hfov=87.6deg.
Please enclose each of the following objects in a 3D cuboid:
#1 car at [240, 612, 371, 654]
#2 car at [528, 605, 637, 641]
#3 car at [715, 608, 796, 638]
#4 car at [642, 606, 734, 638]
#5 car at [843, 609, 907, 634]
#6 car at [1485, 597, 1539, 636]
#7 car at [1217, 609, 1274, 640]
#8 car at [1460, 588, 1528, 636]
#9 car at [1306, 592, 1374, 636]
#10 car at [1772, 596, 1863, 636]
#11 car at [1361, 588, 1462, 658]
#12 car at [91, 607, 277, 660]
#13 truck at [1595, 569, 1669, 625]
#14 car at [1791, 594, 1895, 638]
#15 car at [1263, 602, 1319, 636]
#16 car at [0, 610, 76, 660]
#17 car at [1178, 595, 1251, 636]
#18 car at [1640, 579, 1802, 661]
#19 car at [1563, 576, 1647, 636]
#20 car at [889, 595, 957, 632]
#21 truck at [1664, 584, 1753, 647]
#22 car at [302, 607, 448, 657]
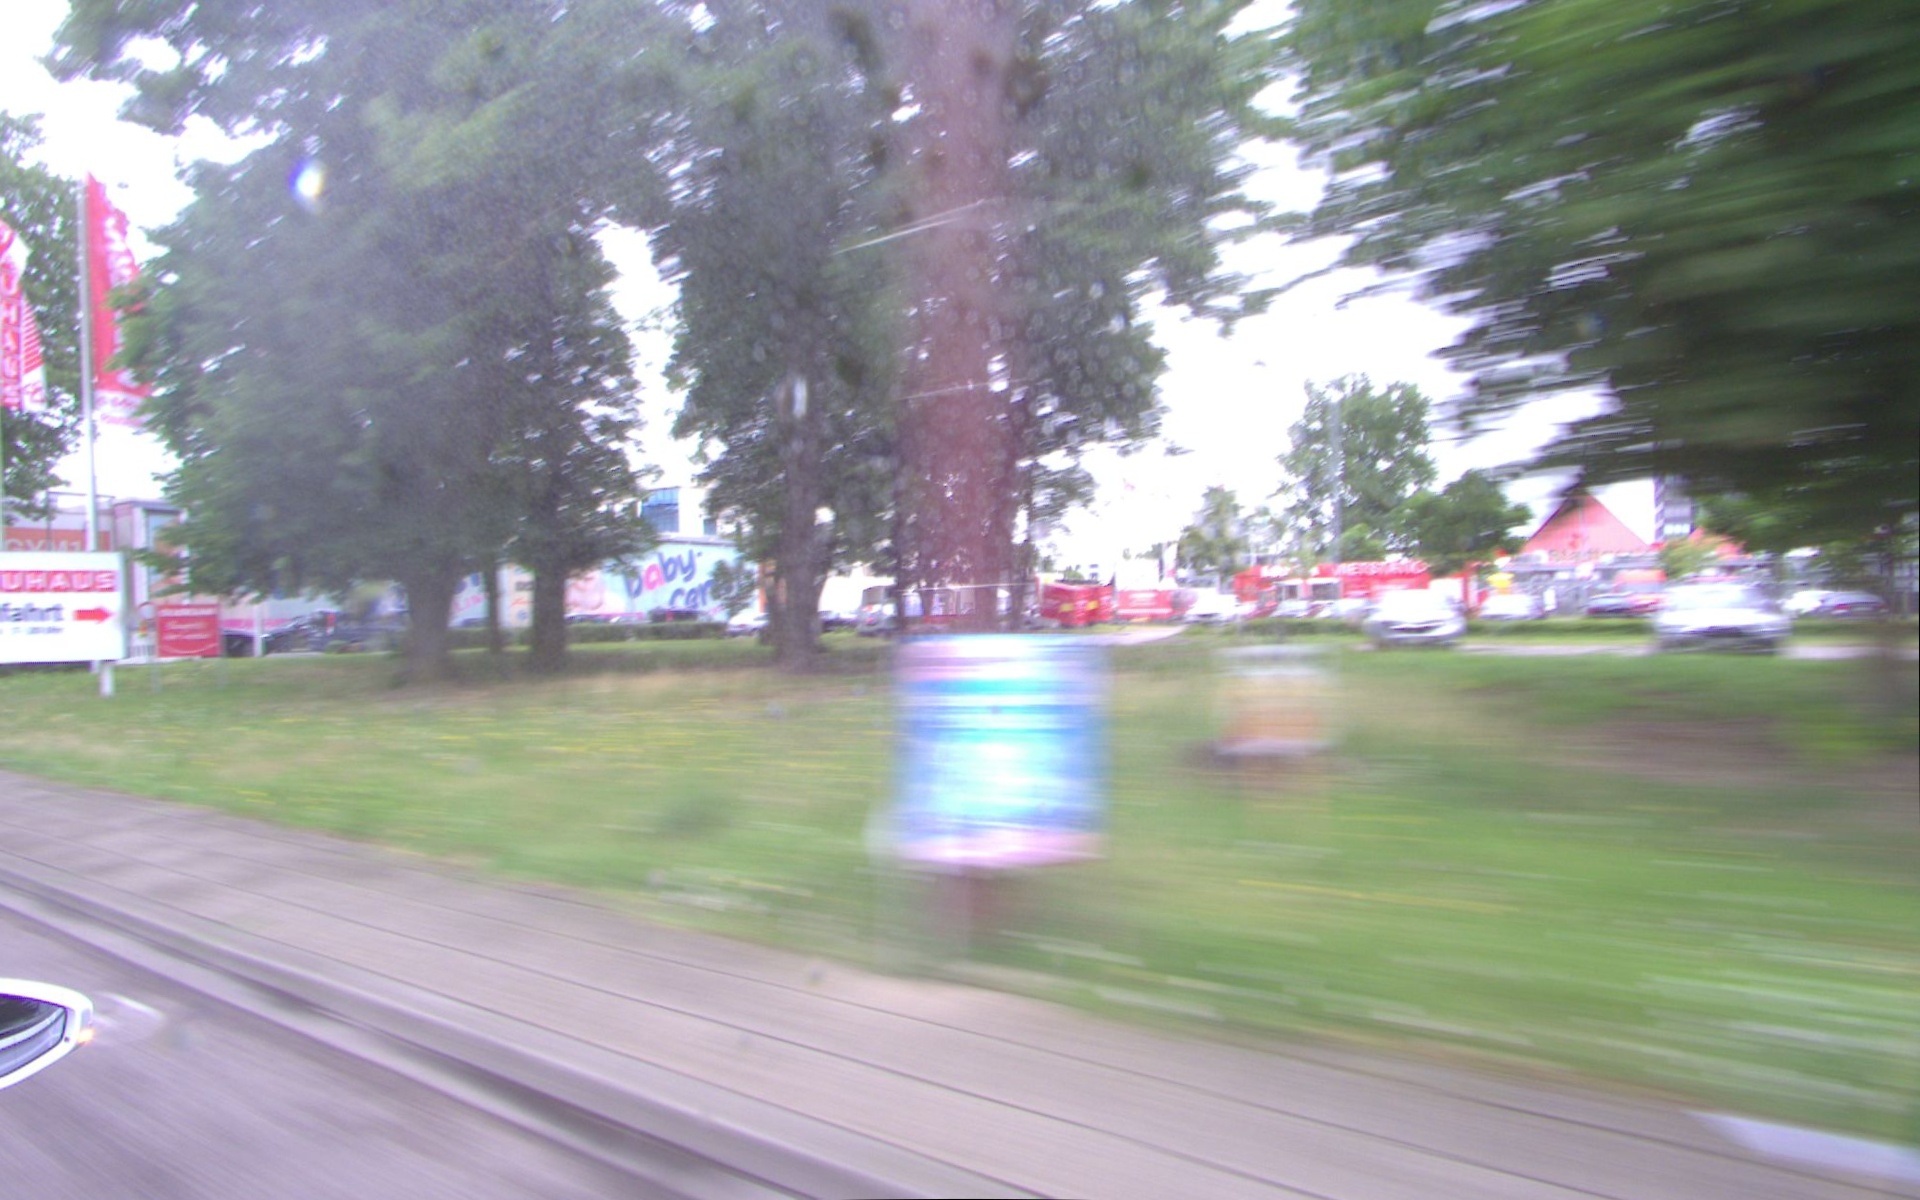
[{"bbox_3d":[-29.462,1.450,45.192,2.054,1.699,4.539,-1,0,35],"label":"car"},{"bbox_3d":[-17.966,1.054,47.855,2.044,1.592,4.544,-1,0,32],"label":"car"},{"bbox_3d":[-11.735,1.305,57.686,2.044,1.592,4.544,-1,0,32],"label":"car"},{"bbox_3d":[-14.437,1.166,53.396,2.044,1.592,4.544,-1,0,32],"label":"car"},{"bbox_3d":[-5.713,1.450,67.788,2.044,1.592,4.544,-1,0,32],"label":"car"},{"bbox_3d":[26.063,0.755,47.413,2.122,1.699,4.549,-1,0,28],"label":"car"},{"bbox_3d":[15.827,1.311,55.368,2.122,1.576,4.549,-1,0,28],"label":"car"},{"bbox_3d":[20.268,0.439,38.149,2.121,1.699,4.550,-1,0,27],"label":"car"},{"bbox_3d":[15.589,0.538,40.906,2.121,1.699,4.550,-1,0,27],"label":"car"},{"bbox_3d":[39.169,0.692,45.853,2.121,1.699,4.550,-1,0,27],"label":"car"},{"bbox_3d":[10.919,0.596,24.045,1.929,1.516,4.530,-1,-2,28],"label":"car"},{"bbox_3d":[-25.966,1.090,33.670,1.964,1.592,4.544,-1,0,32],"label":"car"},{"bbox_3d":[34.507,-0.144,51.604,2.447,2.670,7.849,-1,0,29],"label":"truck"},{"bbox_3d":[36.515,0.623,41.542,2.121,1.699,4.550,-1,0,27],"label":"car"},{"bbox_3d":[17.586,0.978,53.080,2.122,1.699,4.549,-1,0,28],"label":"car"},{"bbox_3d":[-34.113,1.253,35.251,1.969,1.699,4.194,-1,0,39],"label":"car"},{"bbox_3d":[11.164,0.647,43.658,2.121,1.699,4.550,-1,0,27],"label":"car"},{"bbox_3d":[15.864,0.465,21.155,2.139,1.516,4.670,-1,-2,30],"label":"car"},{"bbox_3d":[23.730,0.217,36.985,2.121,2.078,4.550,-1,0,27],"label":"car"},{"bbox_3d":[-2.636,0.920,73.034,2.044,2.571,5.731,-1,0,32],"label":"car"},{"bbox_3d":[36.691,0.686,49.326,2.447,2.853,7.849,-1,0,29],"label":"truck"},{"bbox_3d":[-22.866,1.200,39.307,2.043,1.814,4.544,0,0,32],"label":"car"}]
